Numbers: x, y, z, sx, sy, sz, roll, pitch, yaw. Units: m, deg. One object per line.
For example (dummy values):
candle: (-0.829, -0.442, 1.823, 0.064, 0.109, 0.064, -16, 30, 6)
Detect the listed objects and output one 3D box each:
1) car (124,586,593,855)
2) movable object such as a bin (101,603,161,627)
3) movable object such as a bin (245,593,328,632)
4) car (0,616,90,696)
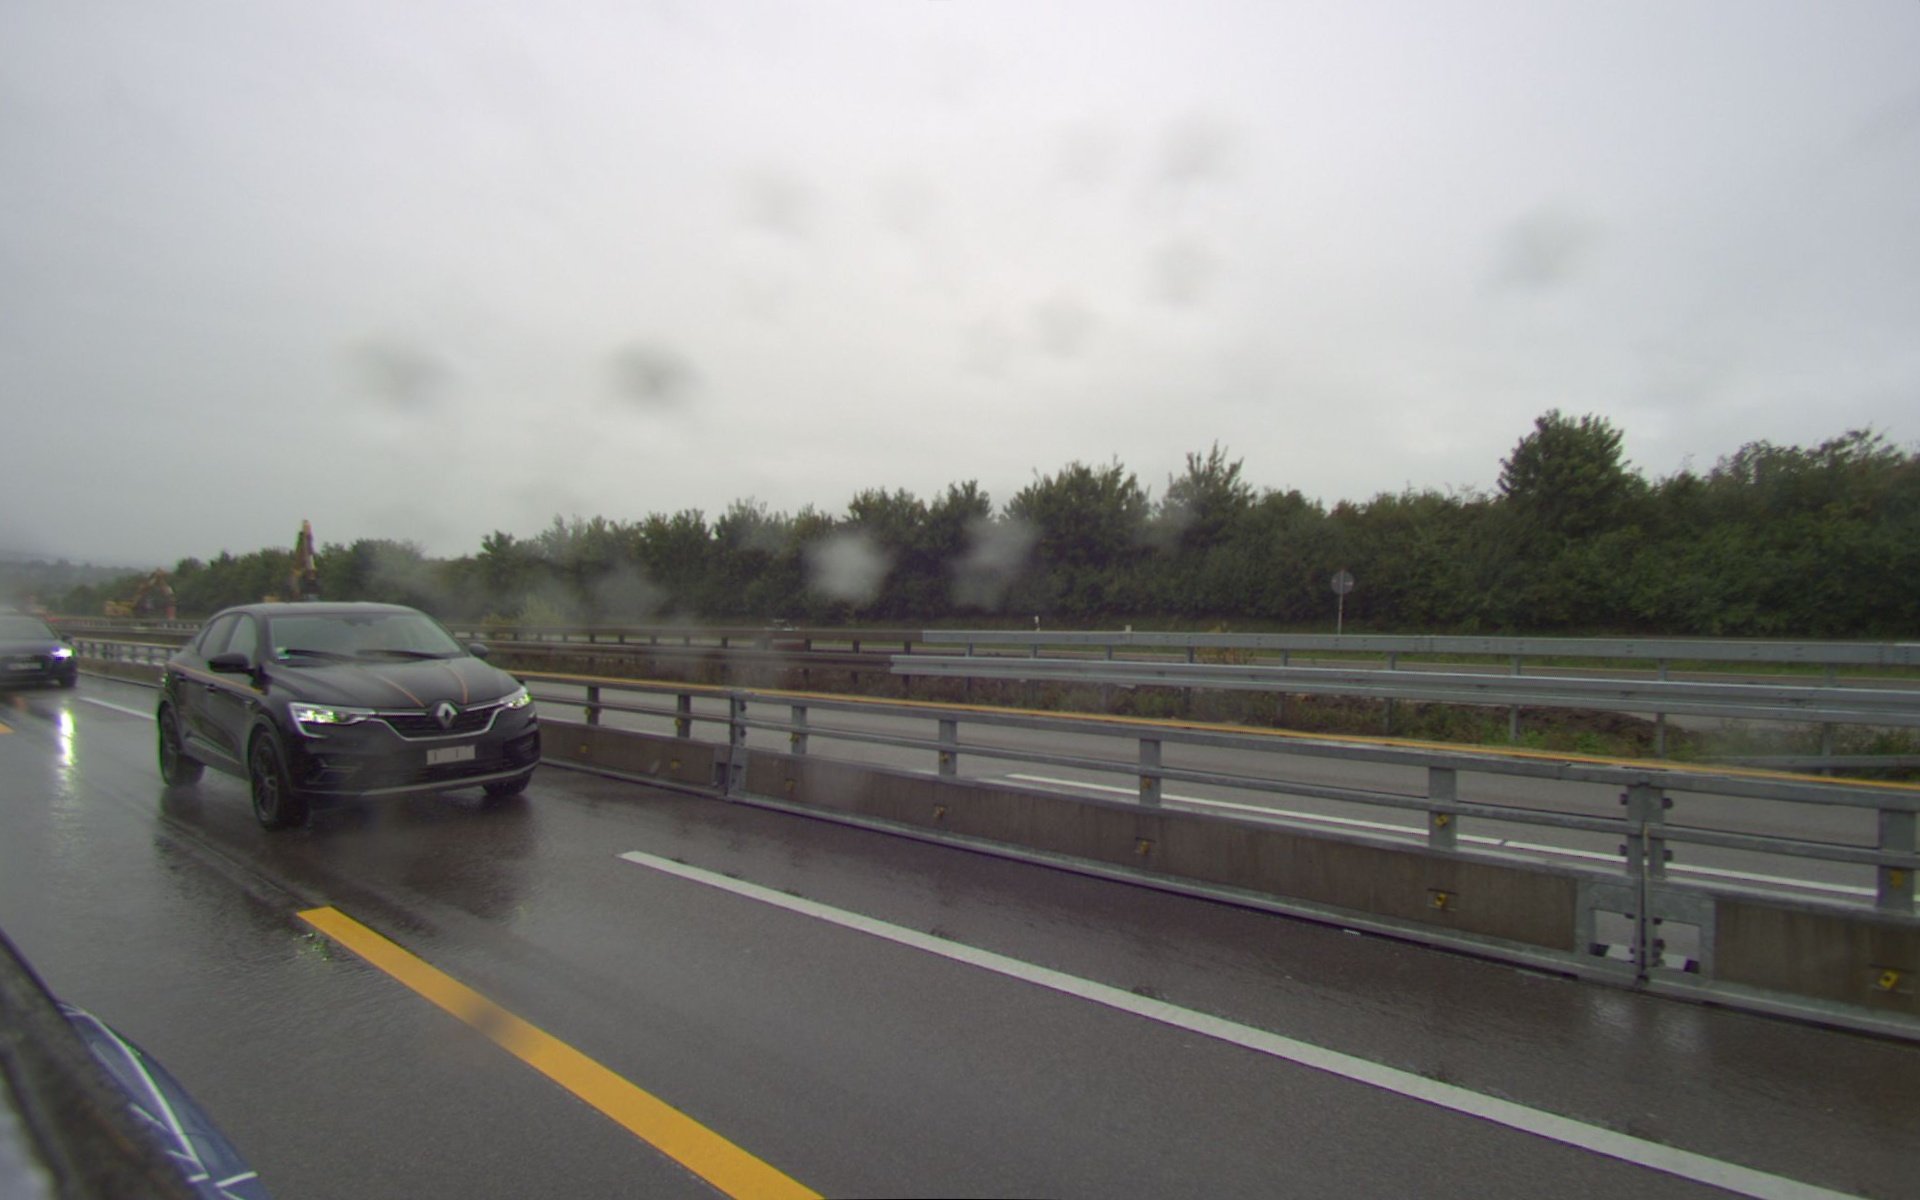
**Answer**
car: (-5.046, 0.727, 8.221, 4.411, 1.597, 1.973, -1, 0, 41)
movable object such as a bin: (-84.187, 1.520, 102.801, 5.087, 2.312, 3.410, -1, 0, 34)
movable object such as a bin: (-51.555, 0.961, 77.391, 6.326, 2.819, 3.726, -1, 0, 41)
car: (-19.911, 1.104, 21.104, 4.627, 1.509, 1.973, -1, 0, 40)
